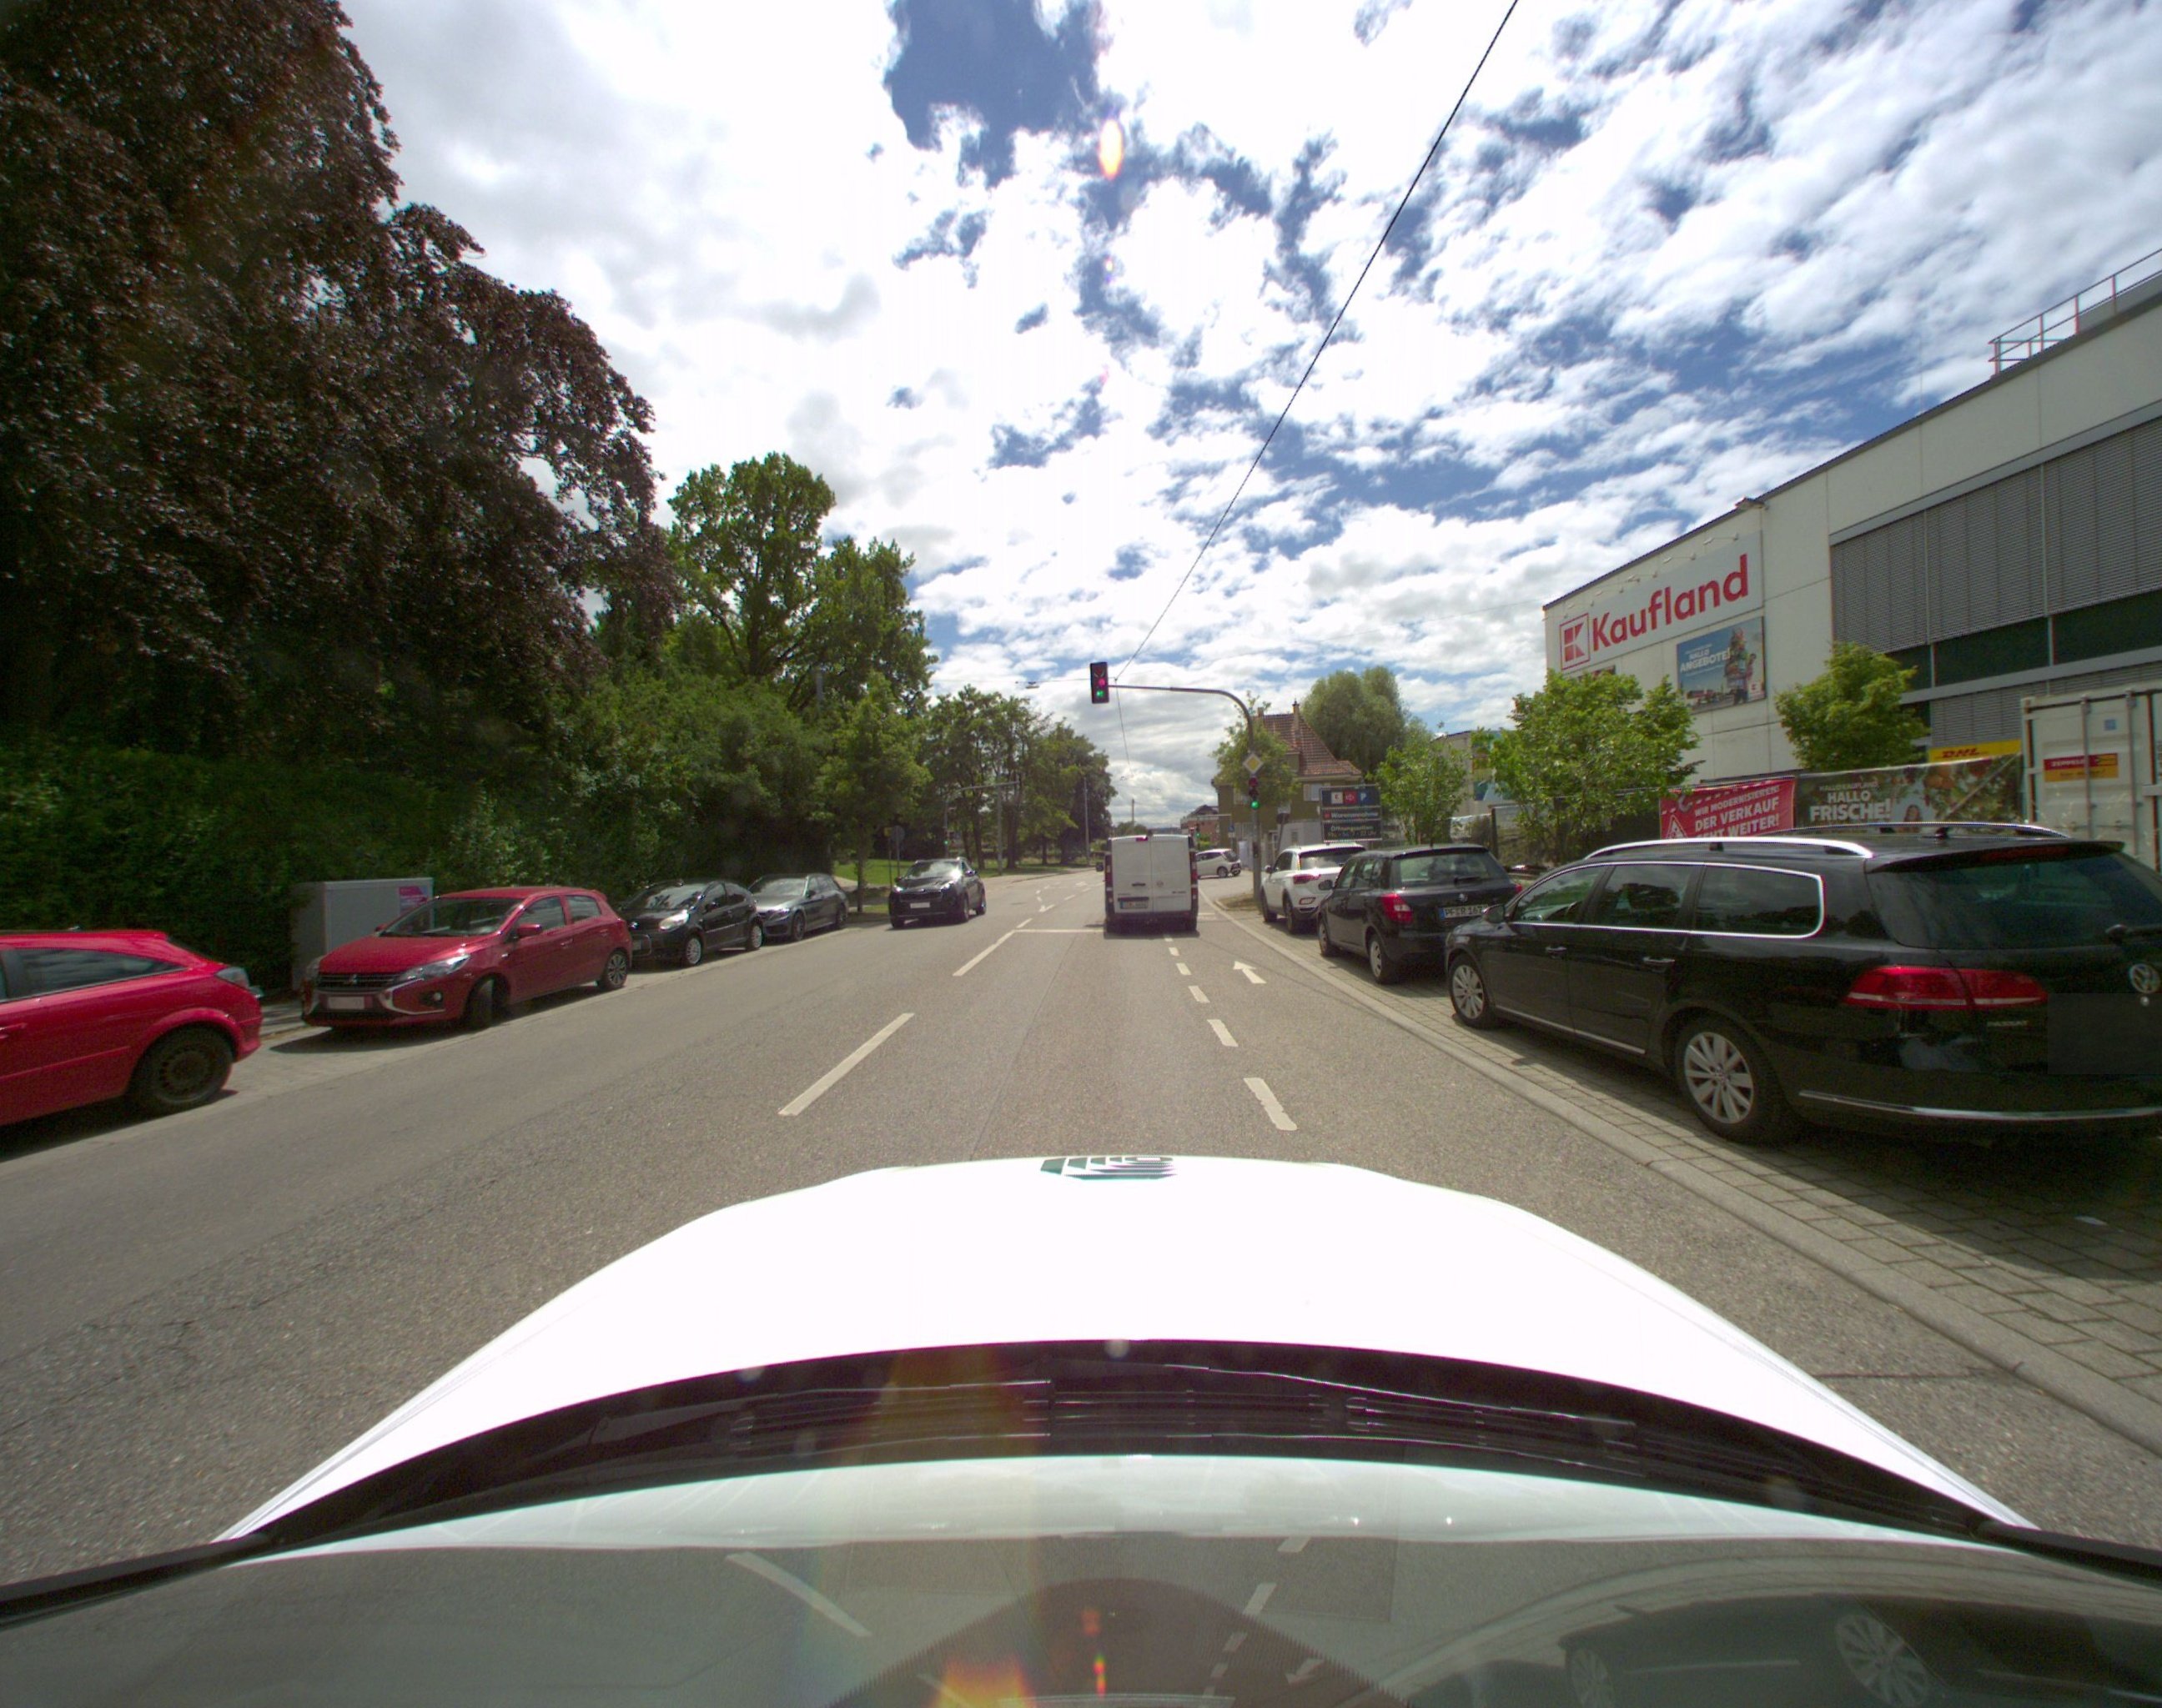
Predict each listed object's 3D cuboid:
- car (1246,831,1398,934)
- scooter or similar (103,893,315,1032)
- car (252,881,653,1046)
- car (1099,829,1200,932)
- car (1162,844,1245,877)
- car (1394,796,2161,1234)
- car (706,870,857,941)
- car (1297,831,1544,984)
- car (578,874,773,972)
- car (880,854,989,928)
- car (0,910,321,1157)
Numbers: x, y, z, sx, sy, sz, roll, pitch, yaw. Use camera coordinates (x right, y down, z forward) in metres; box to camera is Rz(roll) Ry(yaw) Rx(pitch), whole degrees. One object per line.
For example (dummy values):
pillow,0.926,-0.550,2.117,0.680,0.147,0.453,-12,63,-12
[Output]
car,4.551,0.502,16.086,1.730,1.616,4.389,-5,-1,2
scooter or similar,-10.290,1.229,9.710,0.667,1.412,1.650,-2,0,3
car,-7.232,1.143,10.021,1.643,1.450,4.106,-1,0,1
car,1.403,0.511,18.146,1.931,1.960,4.835,-1,0,2
car,6.477,0.347,43.165,3.948,1.606,1.618,-2,0,33
car,3.983,0.575,5.441,1.759,1.477,4.934,-5,0,0
car,-6.845,1.103,19.196,1.688,1.365,4.688,-1,0,1
car,4.054,0.569,10.469,1.562,1.493,4.002,-4,0,2
car,-7.204,1.158,14.894,1.589,1.450,3.599,-1,0,3
car,-3.664,0.864,21.123,1.826,1.616,4.154,-4,0,2
car,-7.443,1.180,4.716,1.654,1.378,4.568,-1,0,2
